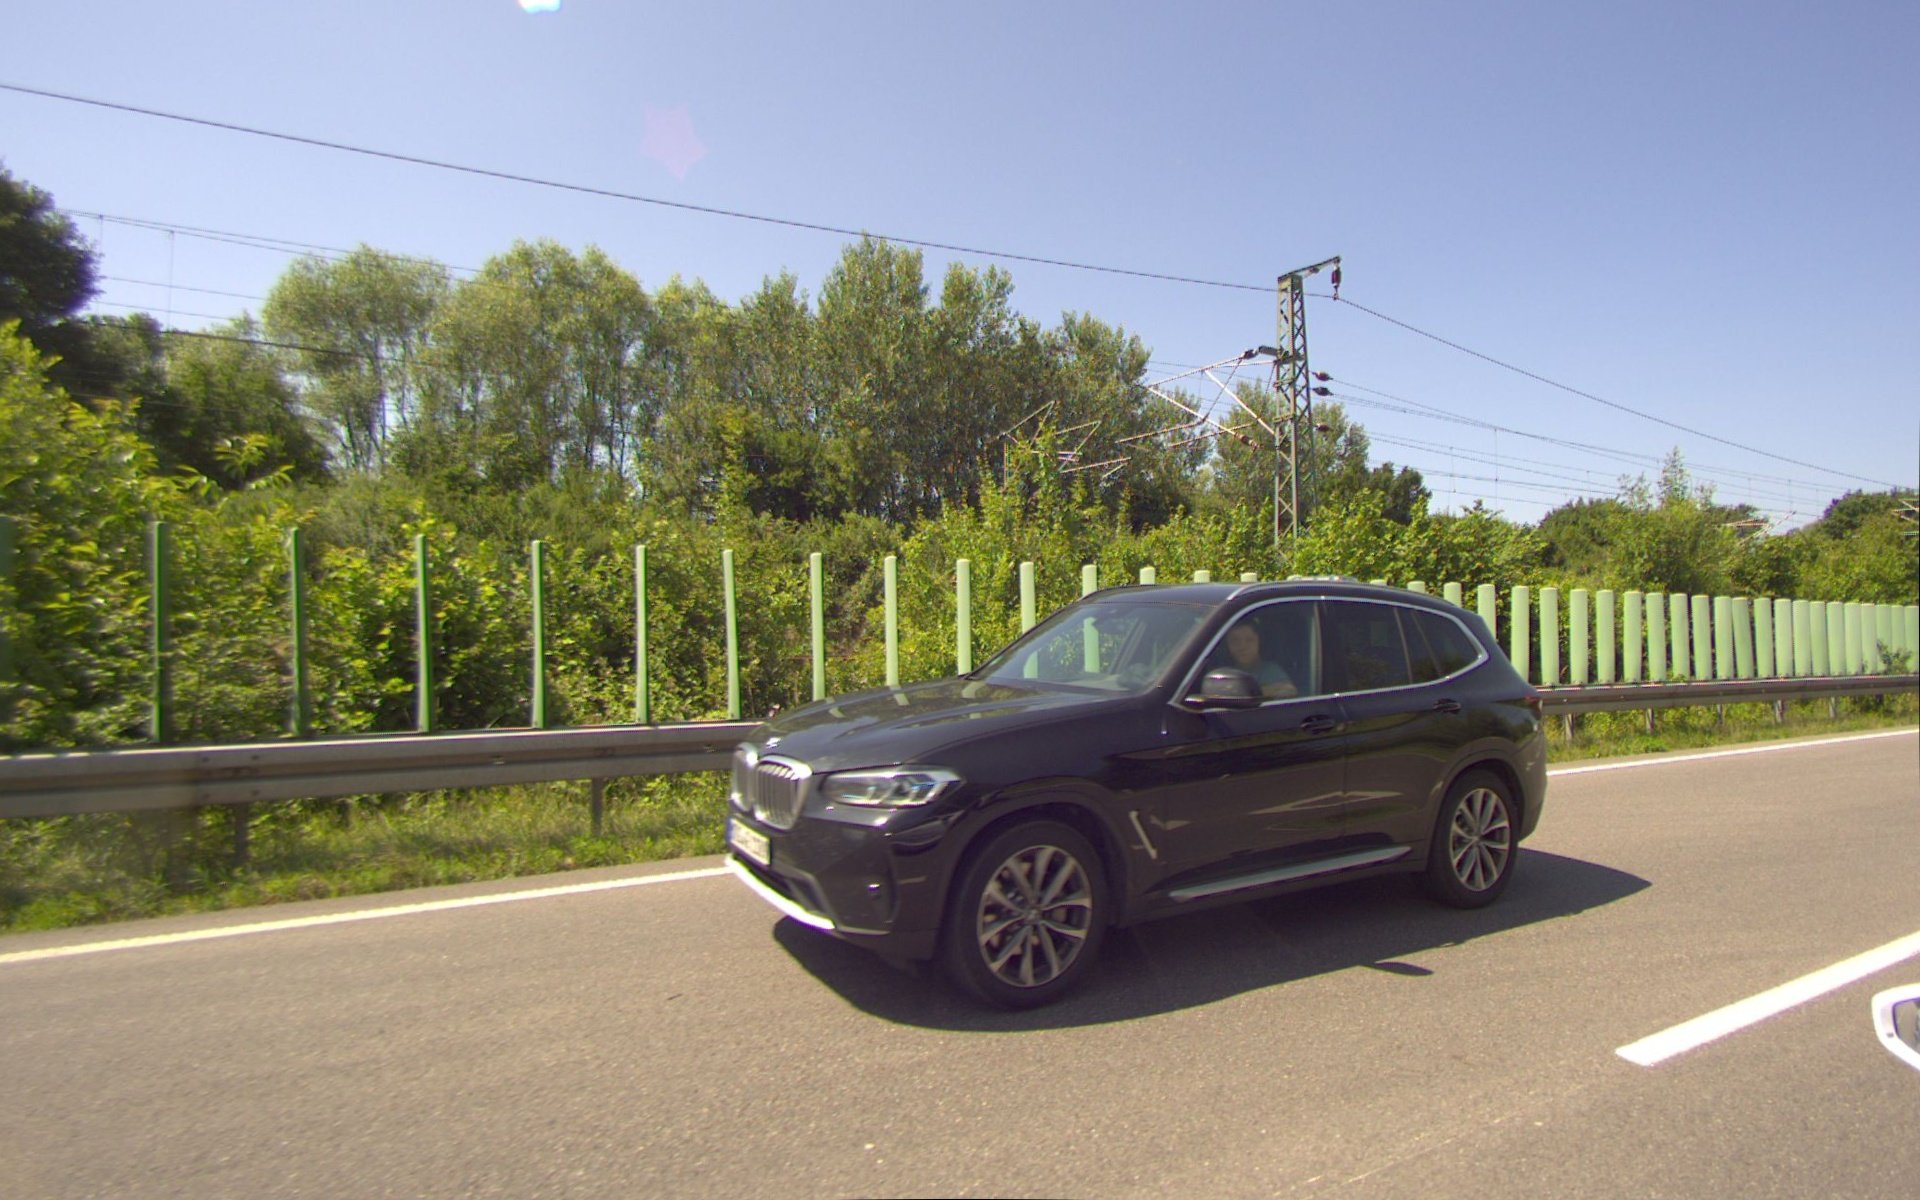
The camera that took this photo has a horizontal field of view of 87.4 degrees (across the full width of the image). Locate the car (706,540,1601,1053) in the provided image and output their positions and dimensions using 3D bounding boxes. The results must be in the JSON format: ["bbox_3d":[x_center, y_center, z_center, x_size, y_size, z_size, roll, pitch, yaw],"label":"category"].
[{"bbox_3d":[1.207,0.706,5.333,4.651,1.716,1.806,1,-1,-30],"label":"car"}]
